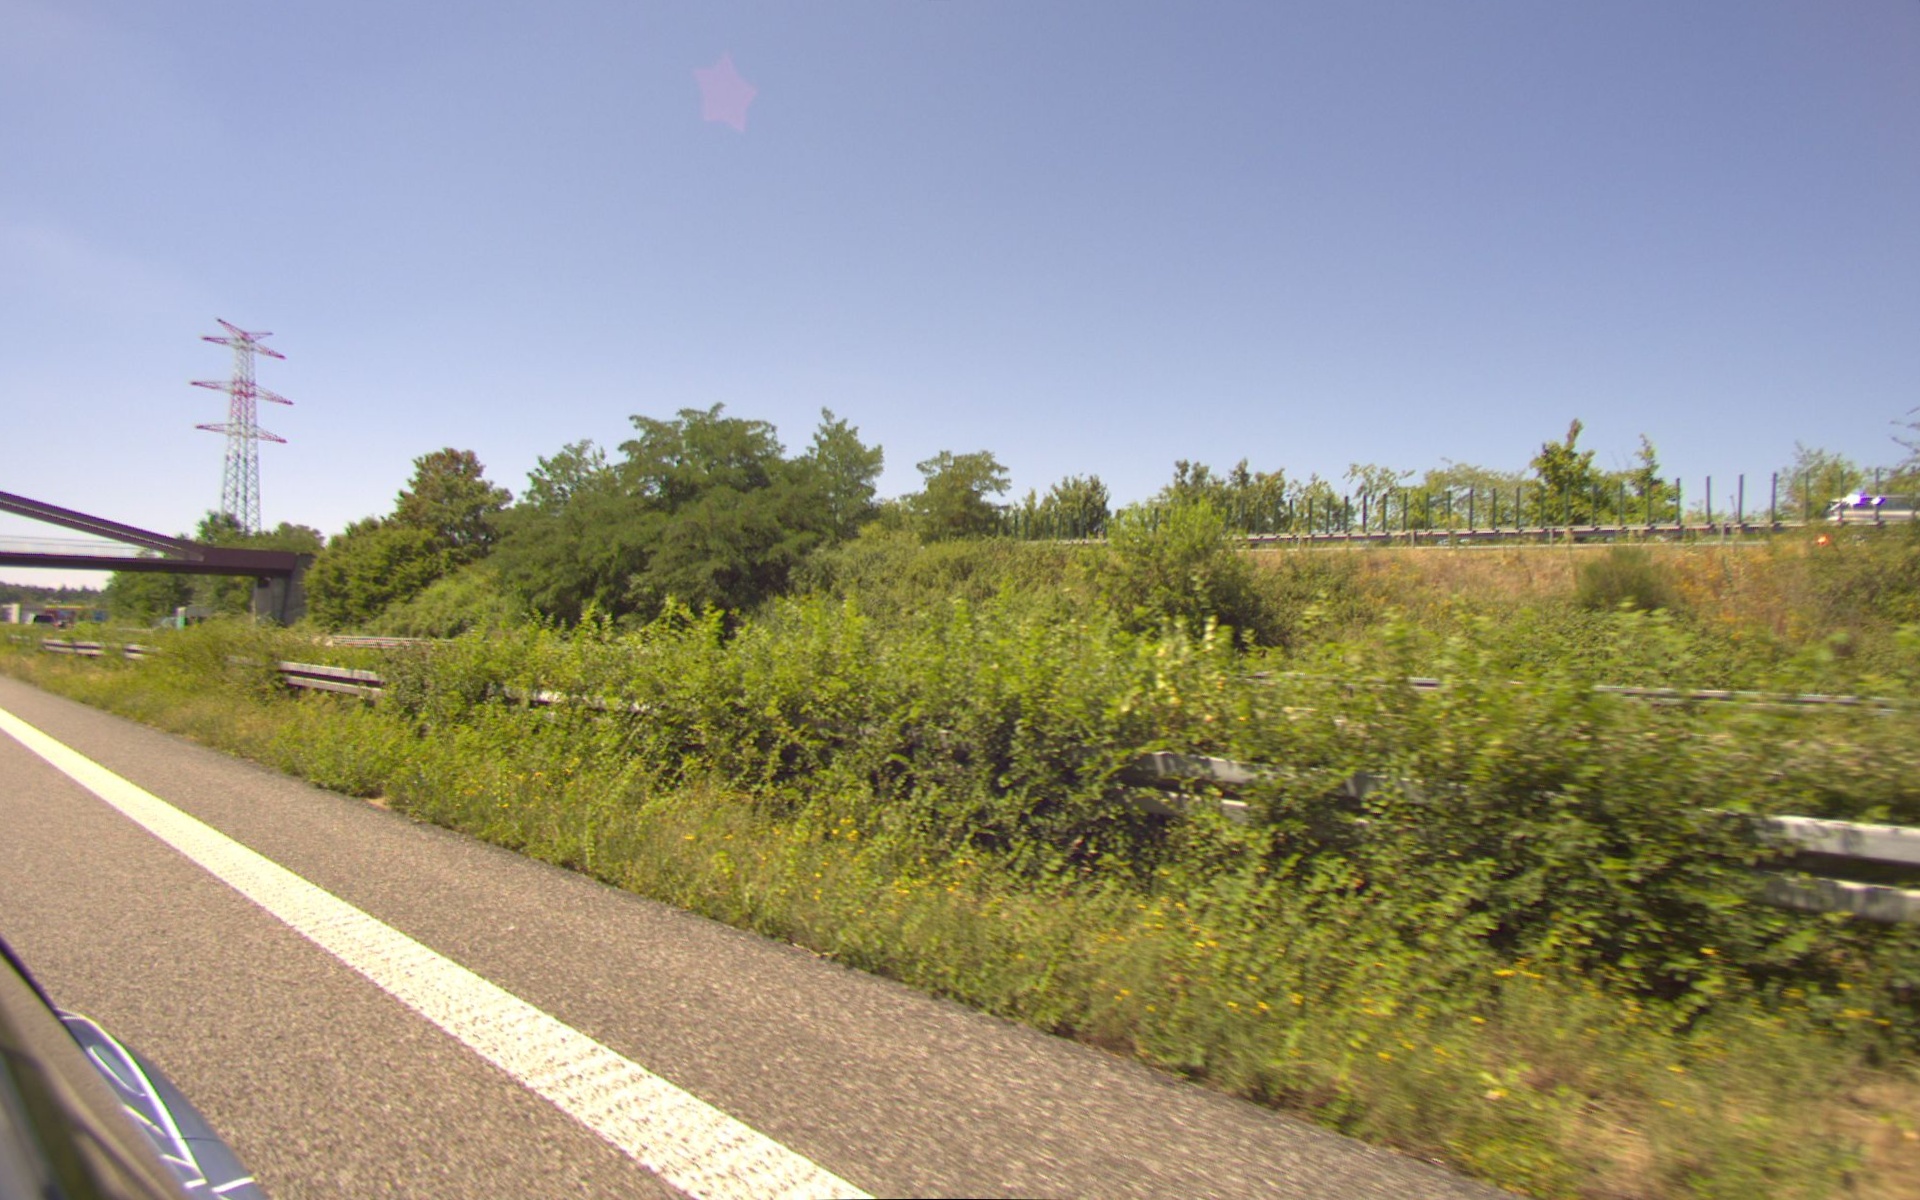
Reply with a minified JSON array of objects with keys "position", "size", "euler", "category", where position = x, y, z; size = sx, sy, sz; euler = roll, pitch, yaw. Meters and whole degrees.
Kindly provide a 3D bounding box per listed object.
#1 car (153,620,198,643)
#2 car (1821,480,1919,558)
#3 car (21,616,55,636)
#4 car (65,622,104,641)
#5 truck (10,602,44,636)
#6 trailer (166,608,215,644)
[{"position":[-58.719,2.355,75.730],"size":[3.998,1.644,1.868],"euler":[-1,-2,41],"category":"car"},{"position":[24.175,-2.036,25.175],"size":[1.701,1.807,4.004],"euler":[-1,0,-43],"category":"car"},{"position":[-86.136,2.448,94.528],"size":[3.998,1.858,1.868],"euler":[-1,-2,41],"category":"car"},{"position":[-68.861,2.475,79.621],"size":[3.998,1.446,1.733],"euler":[-1,-2,41],"category":"car"},{"position":[-120.939,2.466,131.159],"size":[5.590,4.259,2.412],"euler":[-1,-2,40],"category":"truck"},{"position":[-55.616,1.855,73.099],"size":[4.181,2.538,1.973],"euler":[-1,-2,41],"category":"trailer"}]
